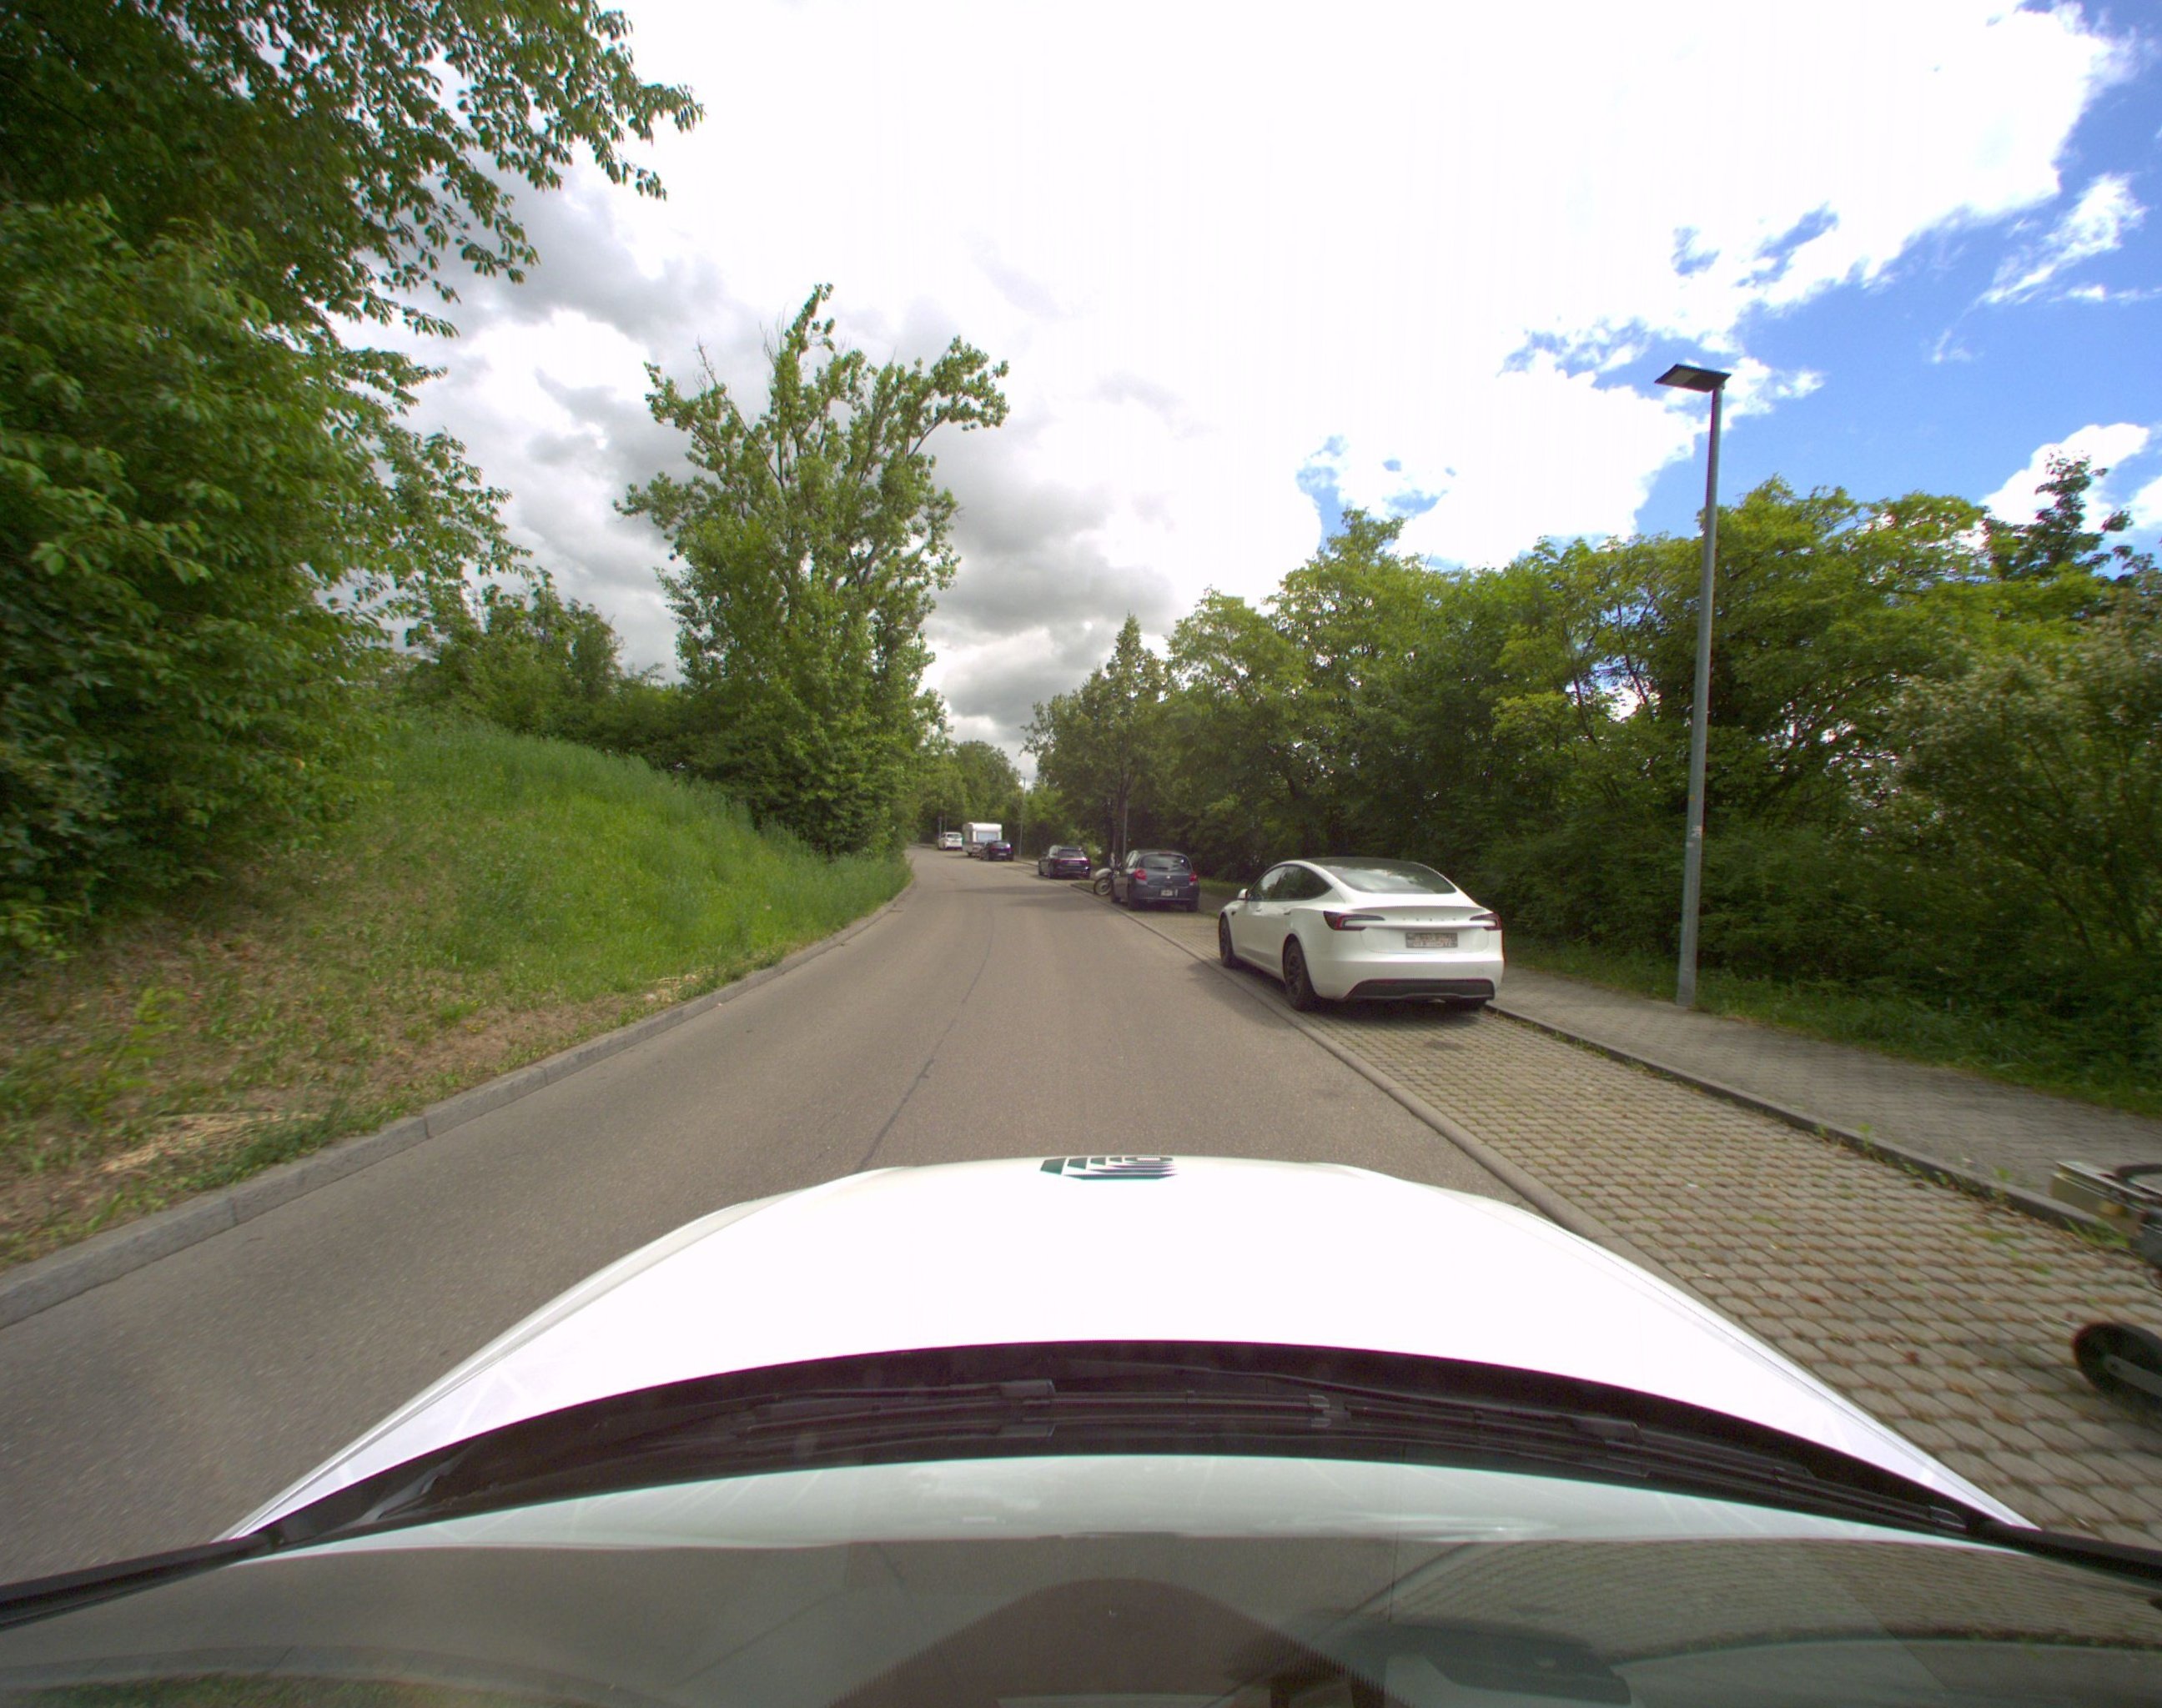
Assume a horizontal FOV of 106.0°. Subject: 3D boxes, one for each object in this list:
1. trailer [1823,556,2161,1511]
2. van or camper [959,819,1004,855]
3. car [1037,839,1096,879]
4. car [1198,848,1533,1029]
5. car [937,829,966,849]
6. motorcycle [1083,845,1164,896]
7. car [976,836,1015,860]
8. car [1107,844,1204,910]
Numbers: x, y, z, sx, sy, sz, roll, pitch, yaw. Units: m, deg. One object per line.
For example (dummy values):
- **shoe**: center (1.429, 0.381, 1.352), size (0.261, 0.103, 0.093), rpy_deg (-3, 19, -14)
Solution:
- **trailer**: center (3.222, 0.380, 0.687), size (1.725, 2.078, 3.782), rpy_deg (0, 0, -1)
- **van or camper**: center (-7.486, -1.268, 60.883), size (2.361, 2.553, 5.043), rpy_deg (0, 2, -19)
- **car**: center (-0.721, 0.169, 36.617), size (1.894, 1.529, 4.530), rpy_deg (2, 2, -11)
- **car**: center (2.778, 0.690, 9.328), size (1.859, 1.477, 4.895), rpy_deg (0, 1, -4)
- **car**: center (-11.620, -1.349, 72.836), size (1.811, 1.599, 4.343), rpy_deg (0, 2, -20)
- **motorcycle**: center (1.299, 0.477, 24.756), size (2.287, 1.475, 0.980), rpy_deg (0, 0, 17)
- **car**: center (-5.843, -0.443, 55.382), size (1.687, 1.450, 4.453), rpy_deg (1, 1, -19)
- **car**: center (1.806, 0.531, 21.045), size (1.767, 1.517, 4.099), rpy_deg (1, 0, -6)
